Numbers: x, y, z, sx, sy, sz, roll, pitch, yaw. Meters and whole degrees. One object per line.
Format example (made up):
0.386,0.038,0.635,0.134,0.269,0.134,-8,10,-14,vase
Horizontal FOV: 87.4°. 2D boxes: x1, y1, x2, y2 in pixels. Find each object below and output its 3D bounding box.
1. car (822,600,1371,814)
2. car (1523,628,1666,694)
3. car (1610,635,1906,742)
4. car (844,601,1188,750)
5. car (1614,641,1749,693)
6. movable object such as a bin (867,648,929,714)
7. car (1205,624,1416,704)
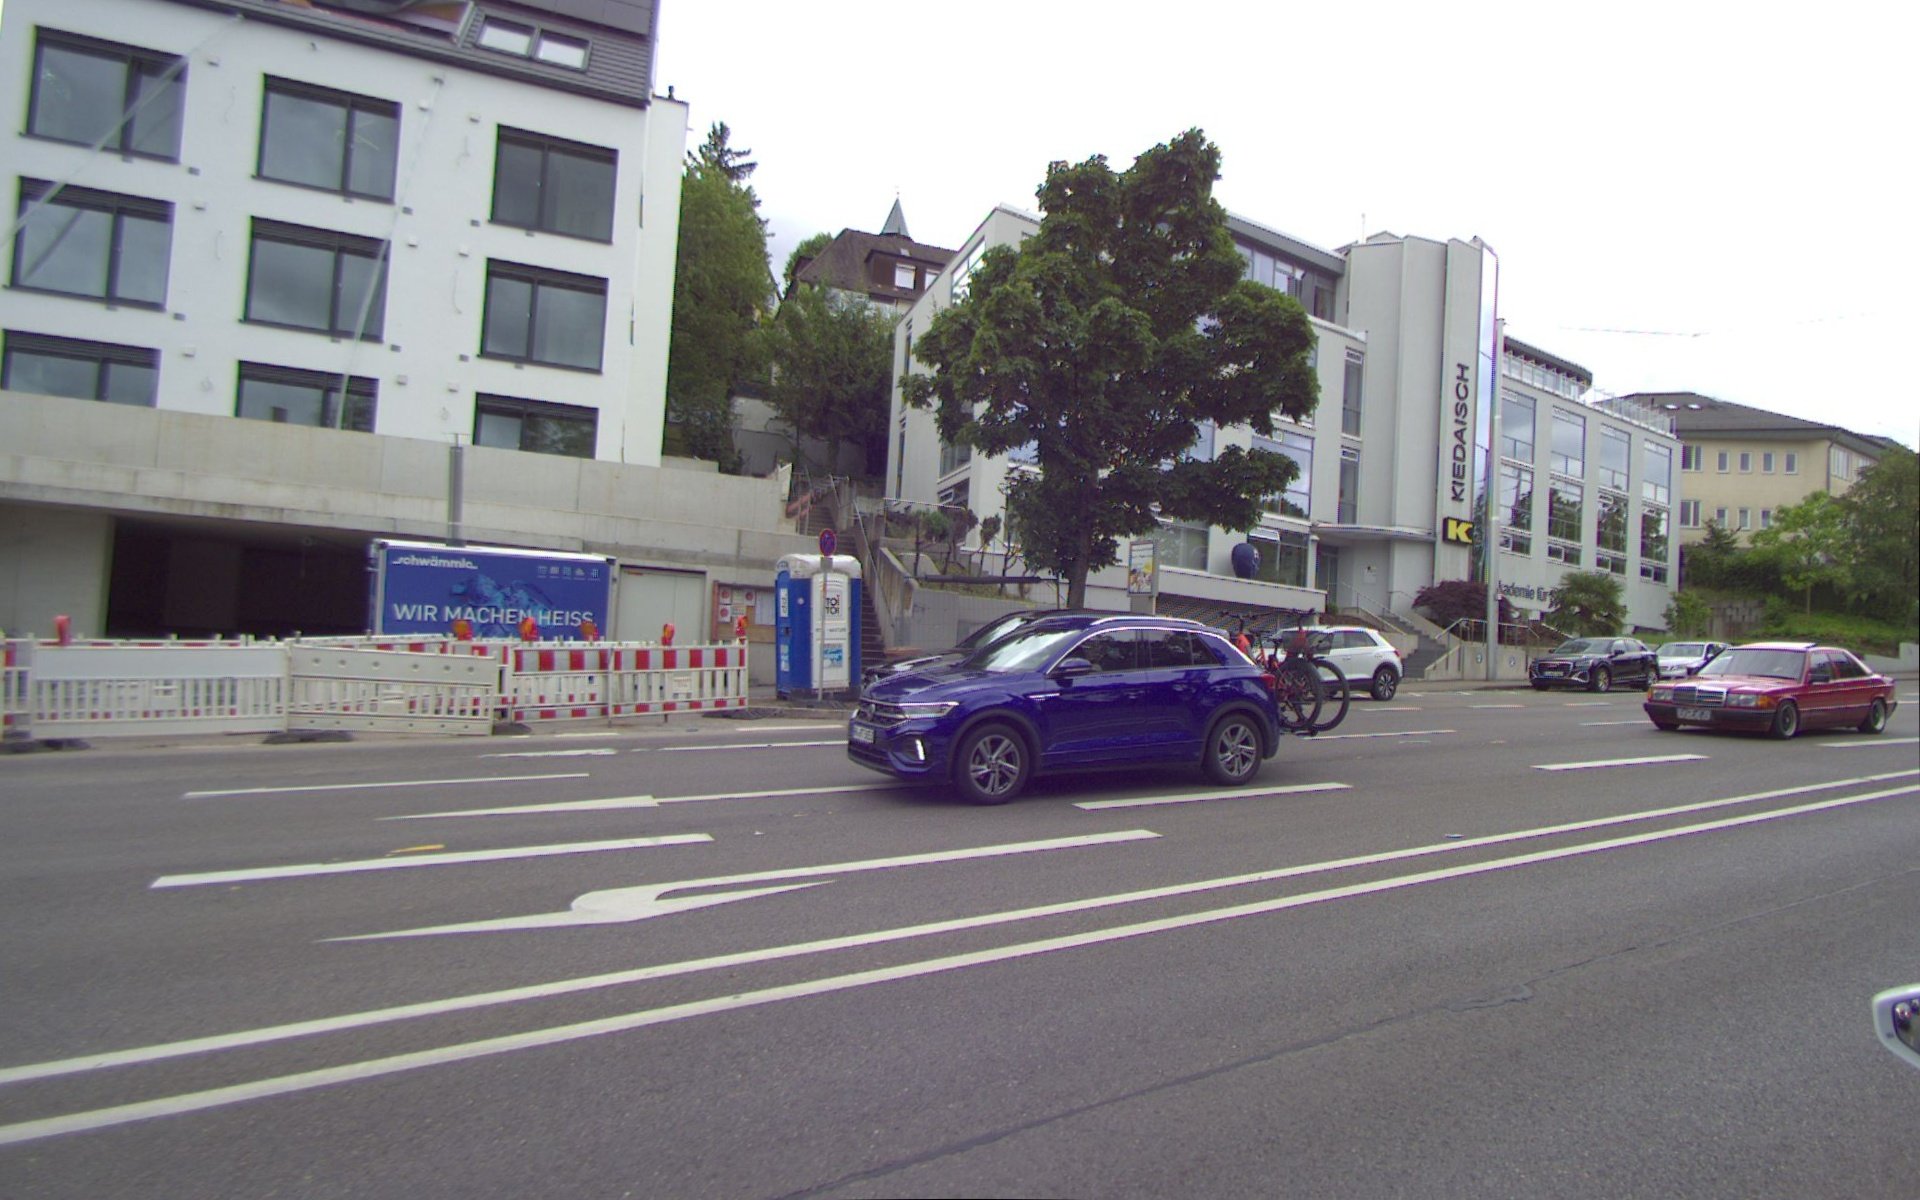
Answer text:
1.417,0.880,9.588,5.118,1.617,1.764,2,-1,-28,car
17.488,1.636,27.651,3.870,1.655,1.762,2,-1,-30,car
12.190,1.269,15.275,4.784,1.370,1.734,2,-1,-28,car
0.751,0.892,12.909,4.090,1.655,1.764,2,-1,-27,car
21.745,1.992,30.248,4.093,1.426,1.763,2,-1,-30,car
-0.907,1.173,14.748,0.648,0.891,0.646,1,0,28,movable object such as a bin
7.397,1.305,21.147,4.250,1.518,1.764,2,-1,-28,car
